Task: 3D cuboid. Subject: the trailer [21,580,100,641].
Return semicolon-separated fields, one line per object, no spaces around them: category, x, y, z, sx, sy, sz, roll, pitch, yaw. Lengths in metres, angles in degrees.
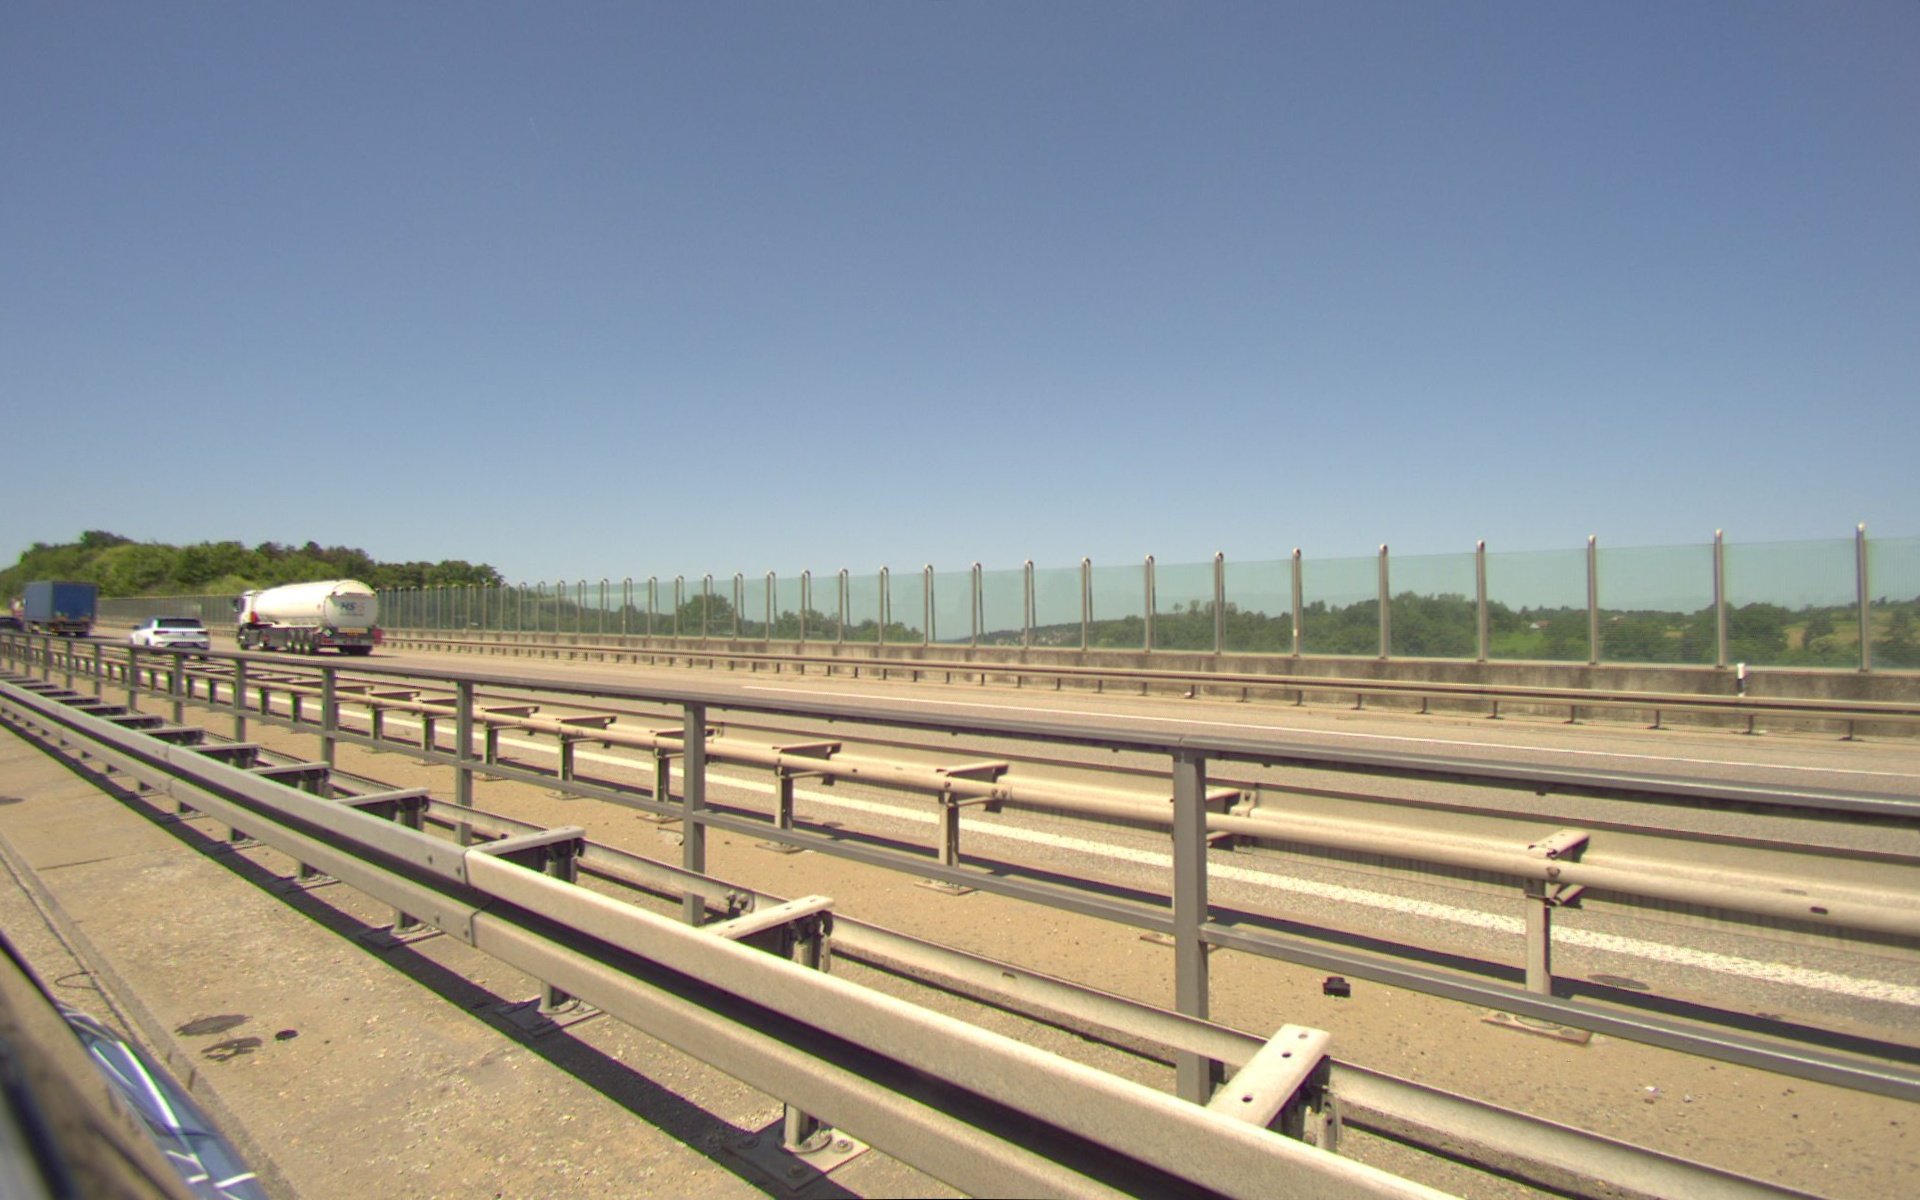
trailer;-66.365;0.789;74.510;12.043;4.197;2.676;0;-2;41

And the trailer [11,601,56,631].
trailer;-112.341;1.969;122.669;12.005;3.405;2.845;0;-3;43

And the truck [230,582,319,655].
truck;-35.592;0.974;52.491;5.328;3.562;2.494;0;-2;42

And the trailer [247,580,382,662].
trailer;-30.926;0.974;48.228;10.900;3.567;2.472;0;-2;42

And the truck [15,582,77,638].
truck;-70.513;0.826;78.056;6.262;4.148;2.724;0;-2;41

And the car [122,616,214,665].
car;-28.570;1.436;36.482;3.997;1.652;1.788;0;-3;40

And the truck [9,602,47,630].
truck;-116.606;2.010;126.637;6.294;3.441;2.877;0;-3;43

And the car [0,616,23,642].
car;-61.219;1.860;64.366;4.186;1.563;1.863;0;0;40
